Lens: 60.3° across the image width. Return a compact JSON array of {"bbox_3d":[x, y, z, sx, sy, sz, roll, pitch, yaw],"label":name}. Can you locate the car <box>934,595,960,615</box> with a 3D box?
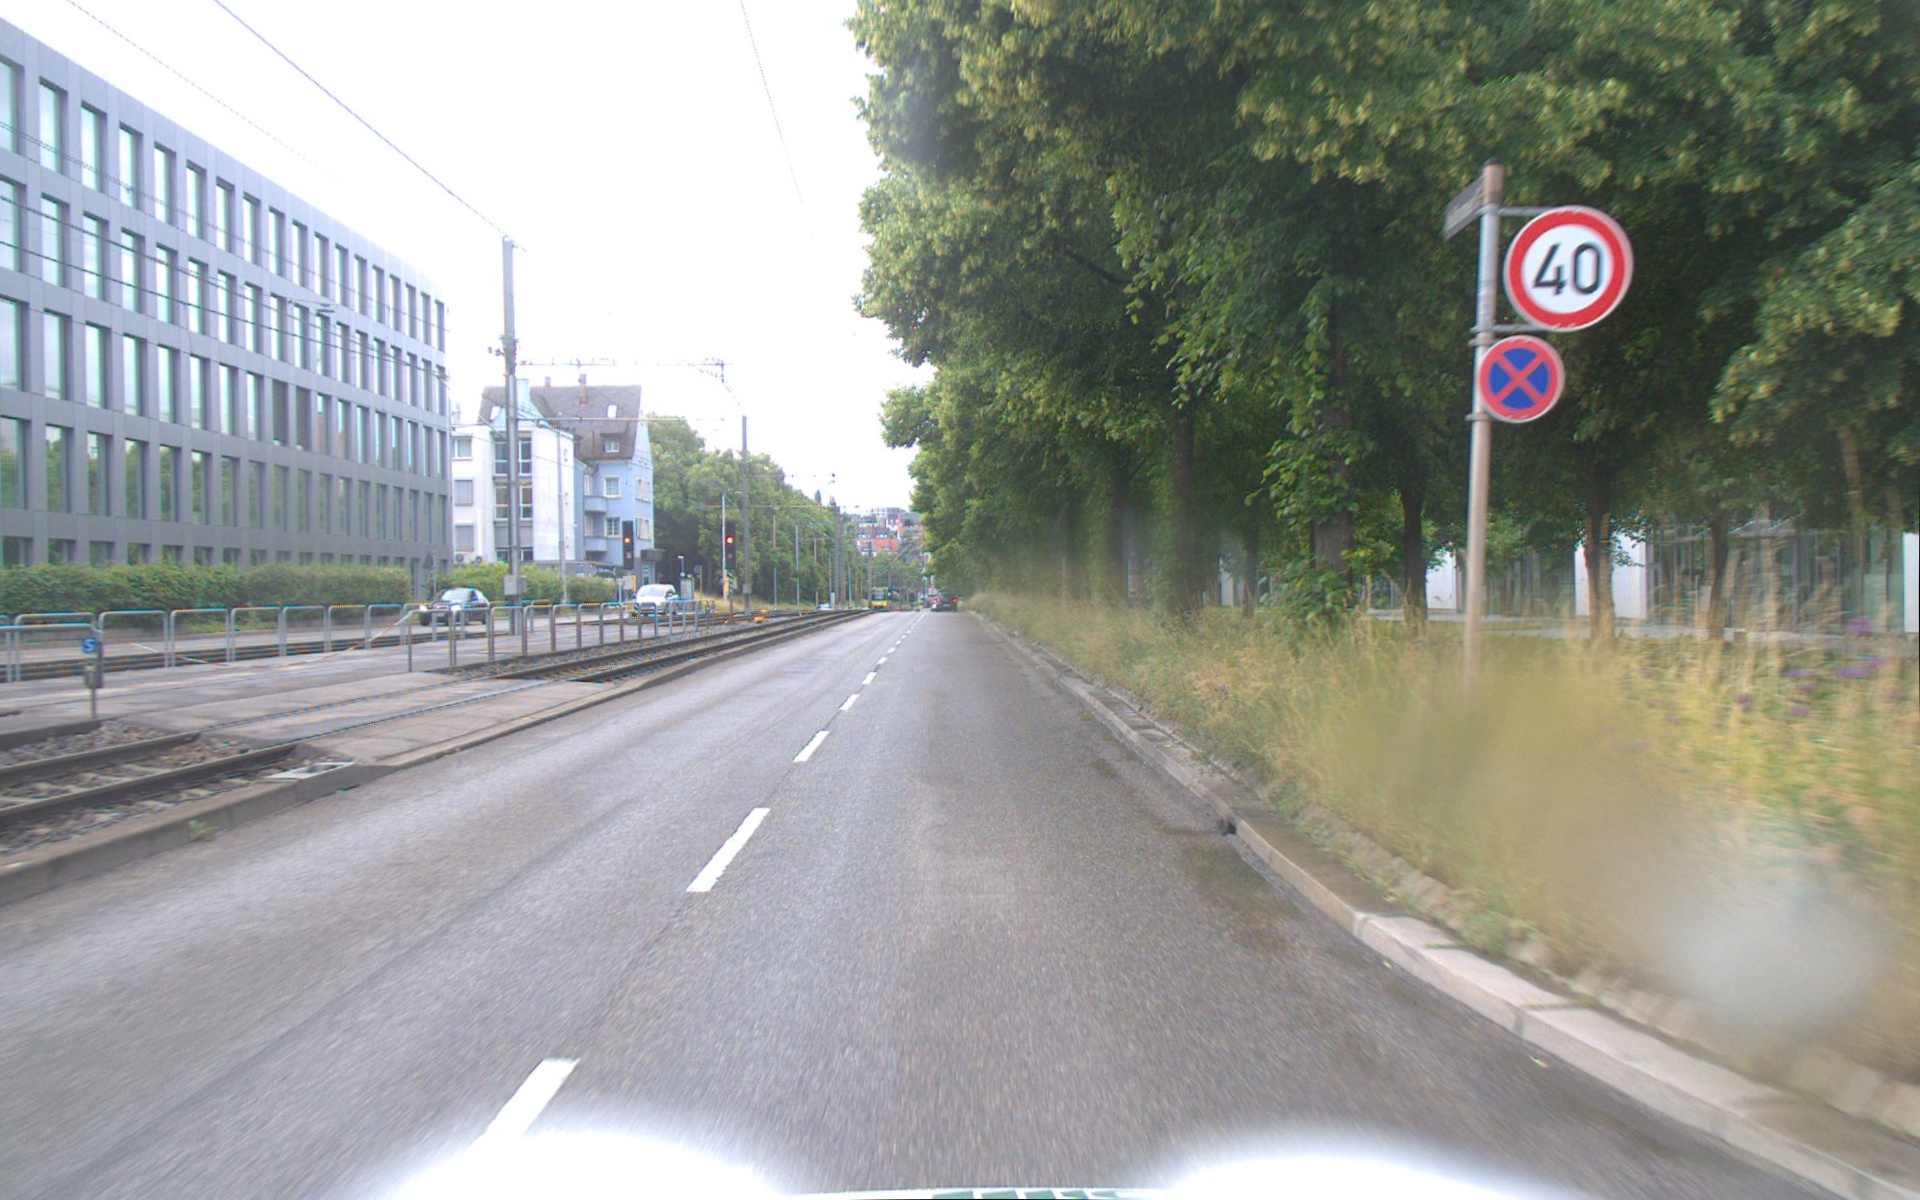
[{"bbox_3d":[-0.953,0.361,126.569,1.941,1.466,4.473,-1,0,0],"label":"car"}]

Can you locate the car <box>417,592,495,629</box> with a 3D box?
[{"bbox_3d":[-19.759,0.398,65.006,1.761,1.370,4.259,-1,0,0],"label":"car"}]

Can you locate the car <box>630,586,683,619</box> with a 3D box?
[{"bbox_3d":[-16.175,0.126,88.332,1.863,1.673,4.884,-1,0,1],"label":"car"}]

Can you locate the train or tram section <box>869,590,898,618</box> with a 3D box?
[{"bbox_3d":[-10.993,0.663,239.088,3.148,3.863,14.789,-1,-1,1],"label":"train or tram section"}]
